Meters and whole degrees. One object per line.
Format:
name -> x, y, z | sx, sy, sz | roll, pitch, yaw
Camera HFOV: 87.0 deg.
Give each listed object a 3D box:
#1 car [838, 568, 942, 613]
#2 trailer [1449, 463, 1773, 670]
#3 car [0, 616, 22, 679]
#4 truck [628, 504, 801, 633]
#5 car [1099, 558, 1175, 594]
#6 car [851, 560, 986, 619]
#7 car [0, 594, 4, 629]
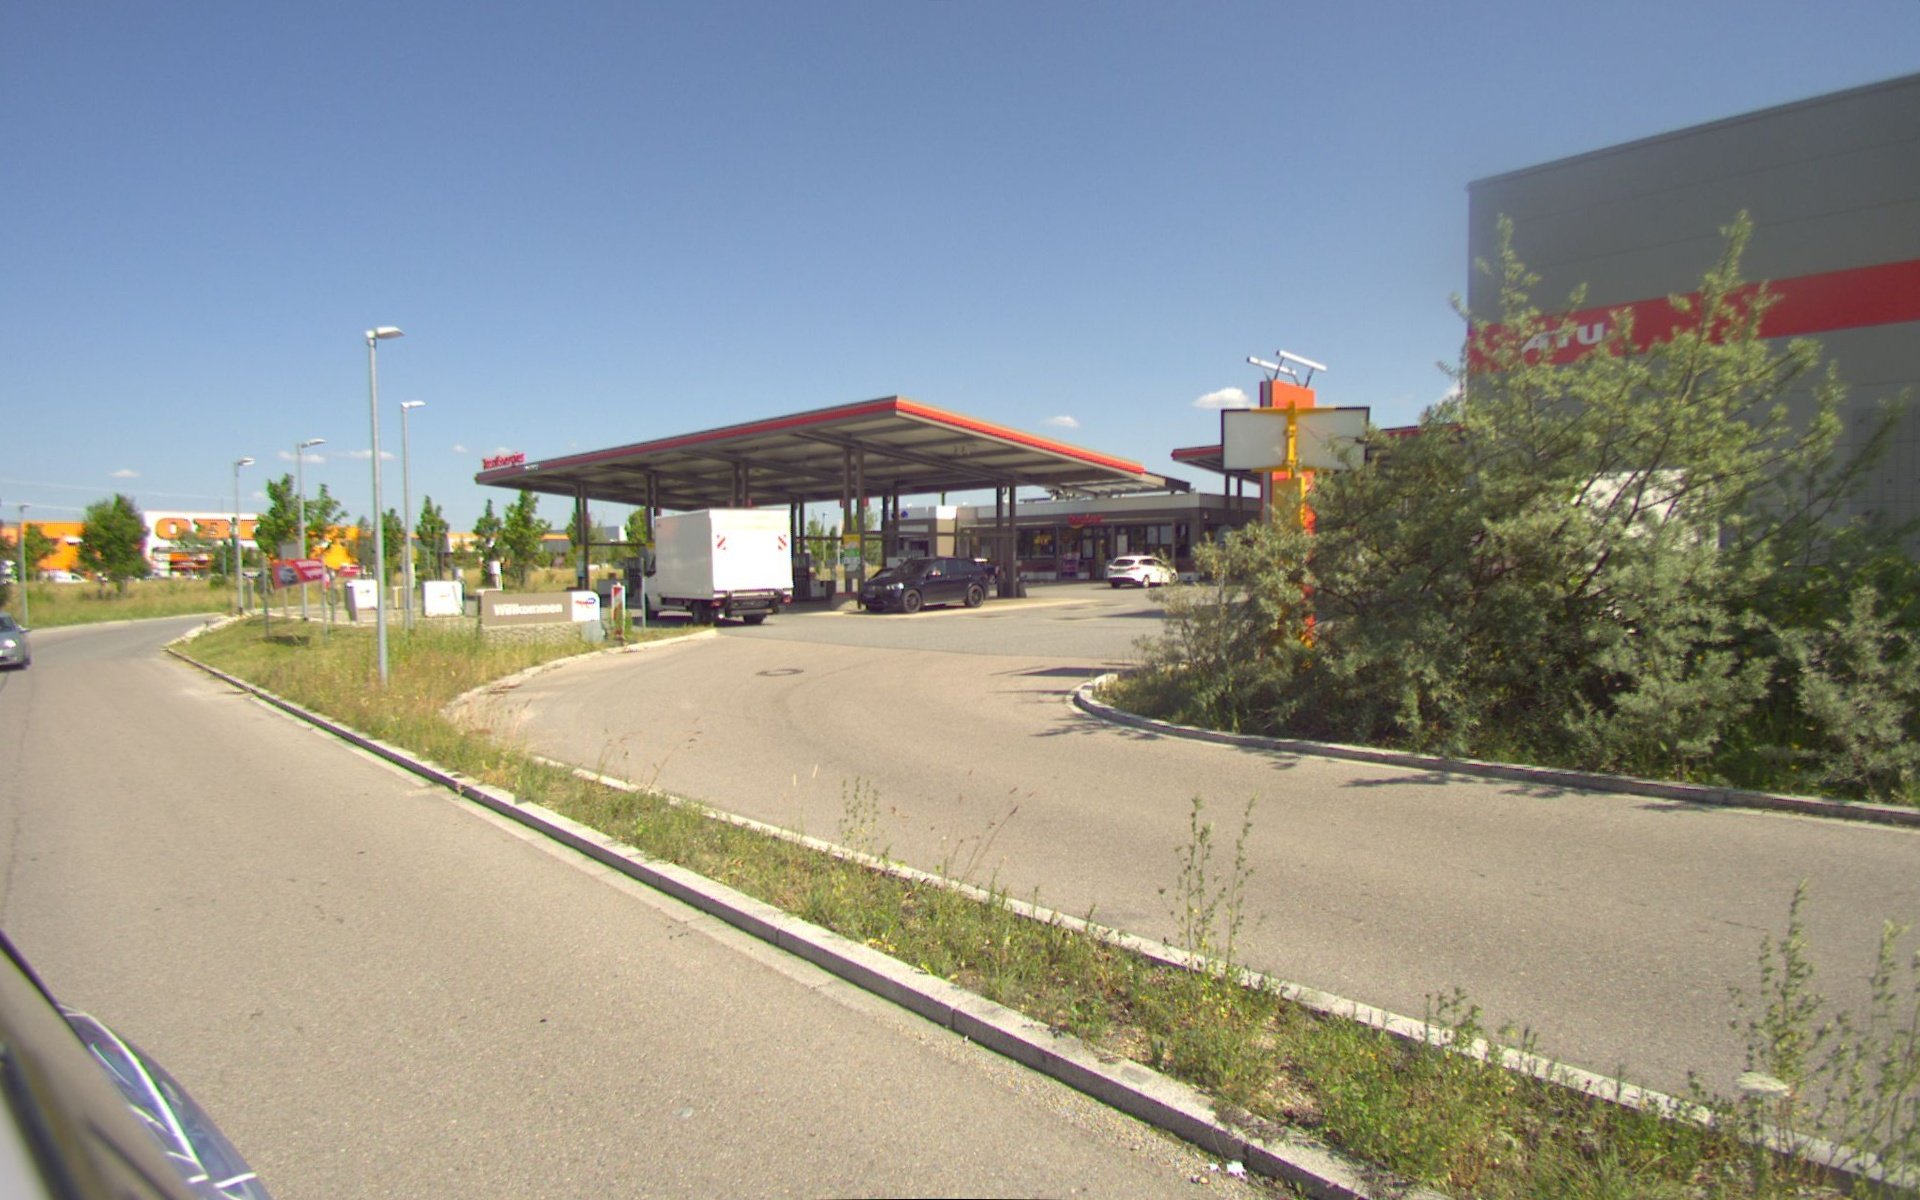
car -> -2.704, -0.398, 39.600 | 1.698, 1.586, 3.880 | -1, 2, 44
trailer -> 7.353, -0.369, 11.854 | 1.977, 2.028, 3.199 | -2, 1, 8
car -> -24.489, 1.153, 25.101 | 1.721, 1.479, 3.964 | 1, -1, -44
truck -> -7.414, -0.869, 29.841 | 2.598, 3.343, 6.924 | -3, 2, -34
car -> 8.319, -1.153, 47.338 | 1.794, 1.541, 3.949 | -1, 2, 39
car -> -1.308, -0.390, 33.498 | 1.796, 1.771, 4.458 | -1, 2, 43
car -> -57.420, 0.769, 57.283 | 4.689, 2.028, 2.002 | -3, 2, -44
